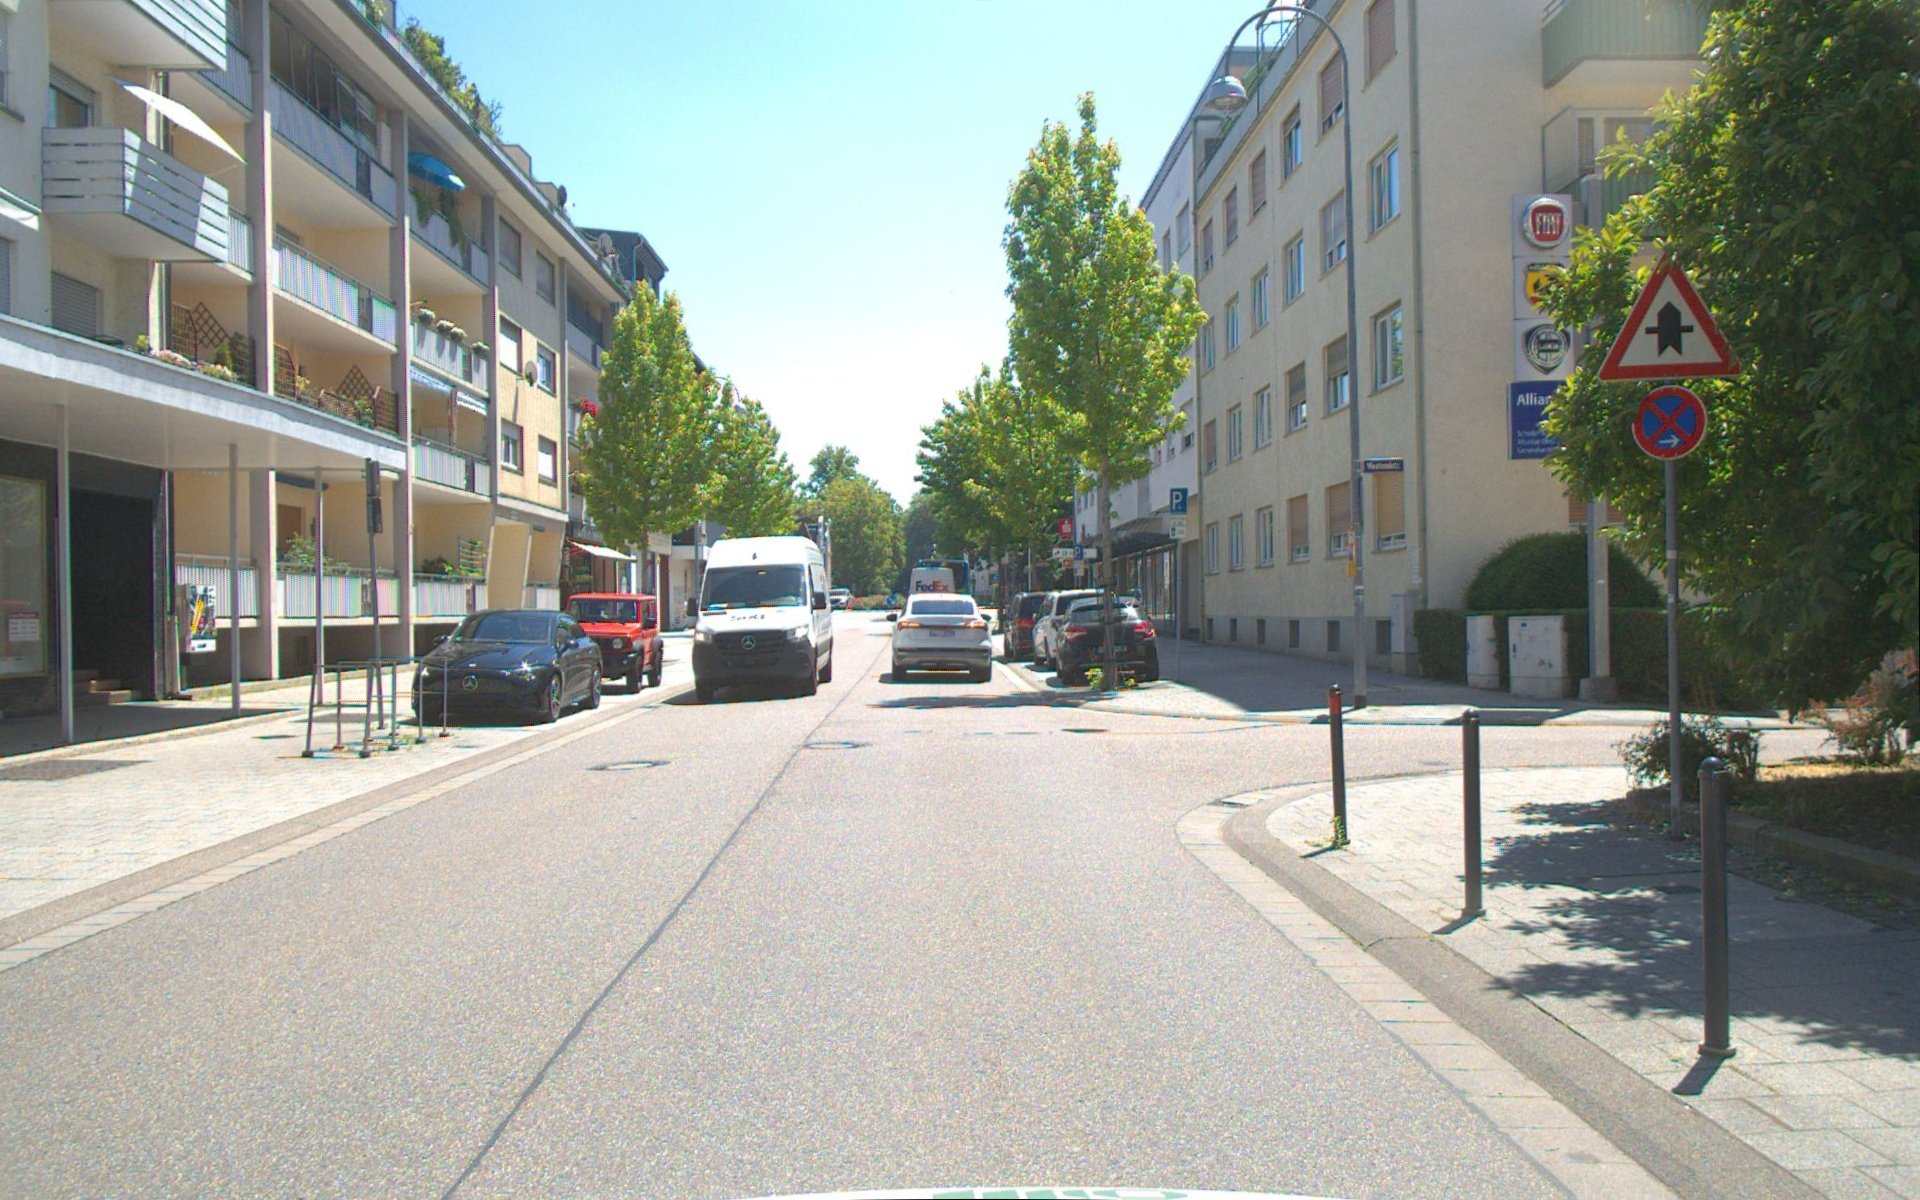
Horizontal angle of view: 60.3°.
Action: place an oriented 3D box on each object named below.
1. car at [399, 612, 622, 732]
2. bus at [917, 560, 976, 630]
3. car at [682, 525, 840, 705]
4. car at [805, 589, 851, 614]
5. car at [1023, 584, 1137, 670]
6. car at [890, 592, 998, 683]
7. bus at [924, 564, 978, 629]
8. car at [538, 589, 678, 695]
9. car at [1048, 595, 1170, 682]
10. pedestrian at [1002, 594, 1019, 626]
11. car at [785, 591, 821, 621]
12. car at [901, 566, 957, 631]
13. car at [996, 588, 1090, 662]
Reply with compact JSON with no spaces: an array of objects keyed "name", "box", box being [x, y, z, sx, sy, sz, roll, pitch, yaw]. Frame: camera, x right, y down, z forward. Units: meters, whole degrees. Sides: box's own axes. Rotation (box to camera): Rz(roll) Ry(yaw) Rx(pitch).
[{"name":"car","box":[-6.147,0.924,23.265,1.858,1.442,5.046,1,0,-2]},{"name":"bus","box":[-0.608,-0.216,81.254,2.606,3.278,7.302,1,0,1]},{"name":"car","box":[-3.320,0.224,29.044,1.995,2.676,7.105,-3,0,-2]},{"name":"car","box":[-9.801,0.096,123.451,1.827,1.788,3.999,1,0,22]},{"name":"car","box":[2.590,0.567,36.819,1.859,1.704,4.687,-3,0,-4]},{"name":"car","box":[-0.373,0.684,32.225,1.953,1.661,3.998,0,0,-2]},{"name":"bus","box":[-0.419,-0.146,88.634,2.606,3.266,7.452,1,0,1]},{"name":"car","box":[-6.249,0.706,29.738,1.717,1.732,4.100,1,0,-2]},{"name":"car","box":[2.679,0.654,30.679,1.857,1.463,4.544,-1,0,0]},{"name":"pedestrian","box":[2.433,0.463,79.266,0.704,1.529,0.581,-1,0,-10]},{"name":"car","box":[-9.327,0.348,98.664,1.819,1.721,4.149,-2,0,-2]},{"name":"car","box":[-1.251,-0.046,67.011,2.112,2.484,5.282,1,0,-1]},{"name":"car","box":[2.053,0.594,42.150,1.819,1.704,4.533,-3,0,-4]}]
